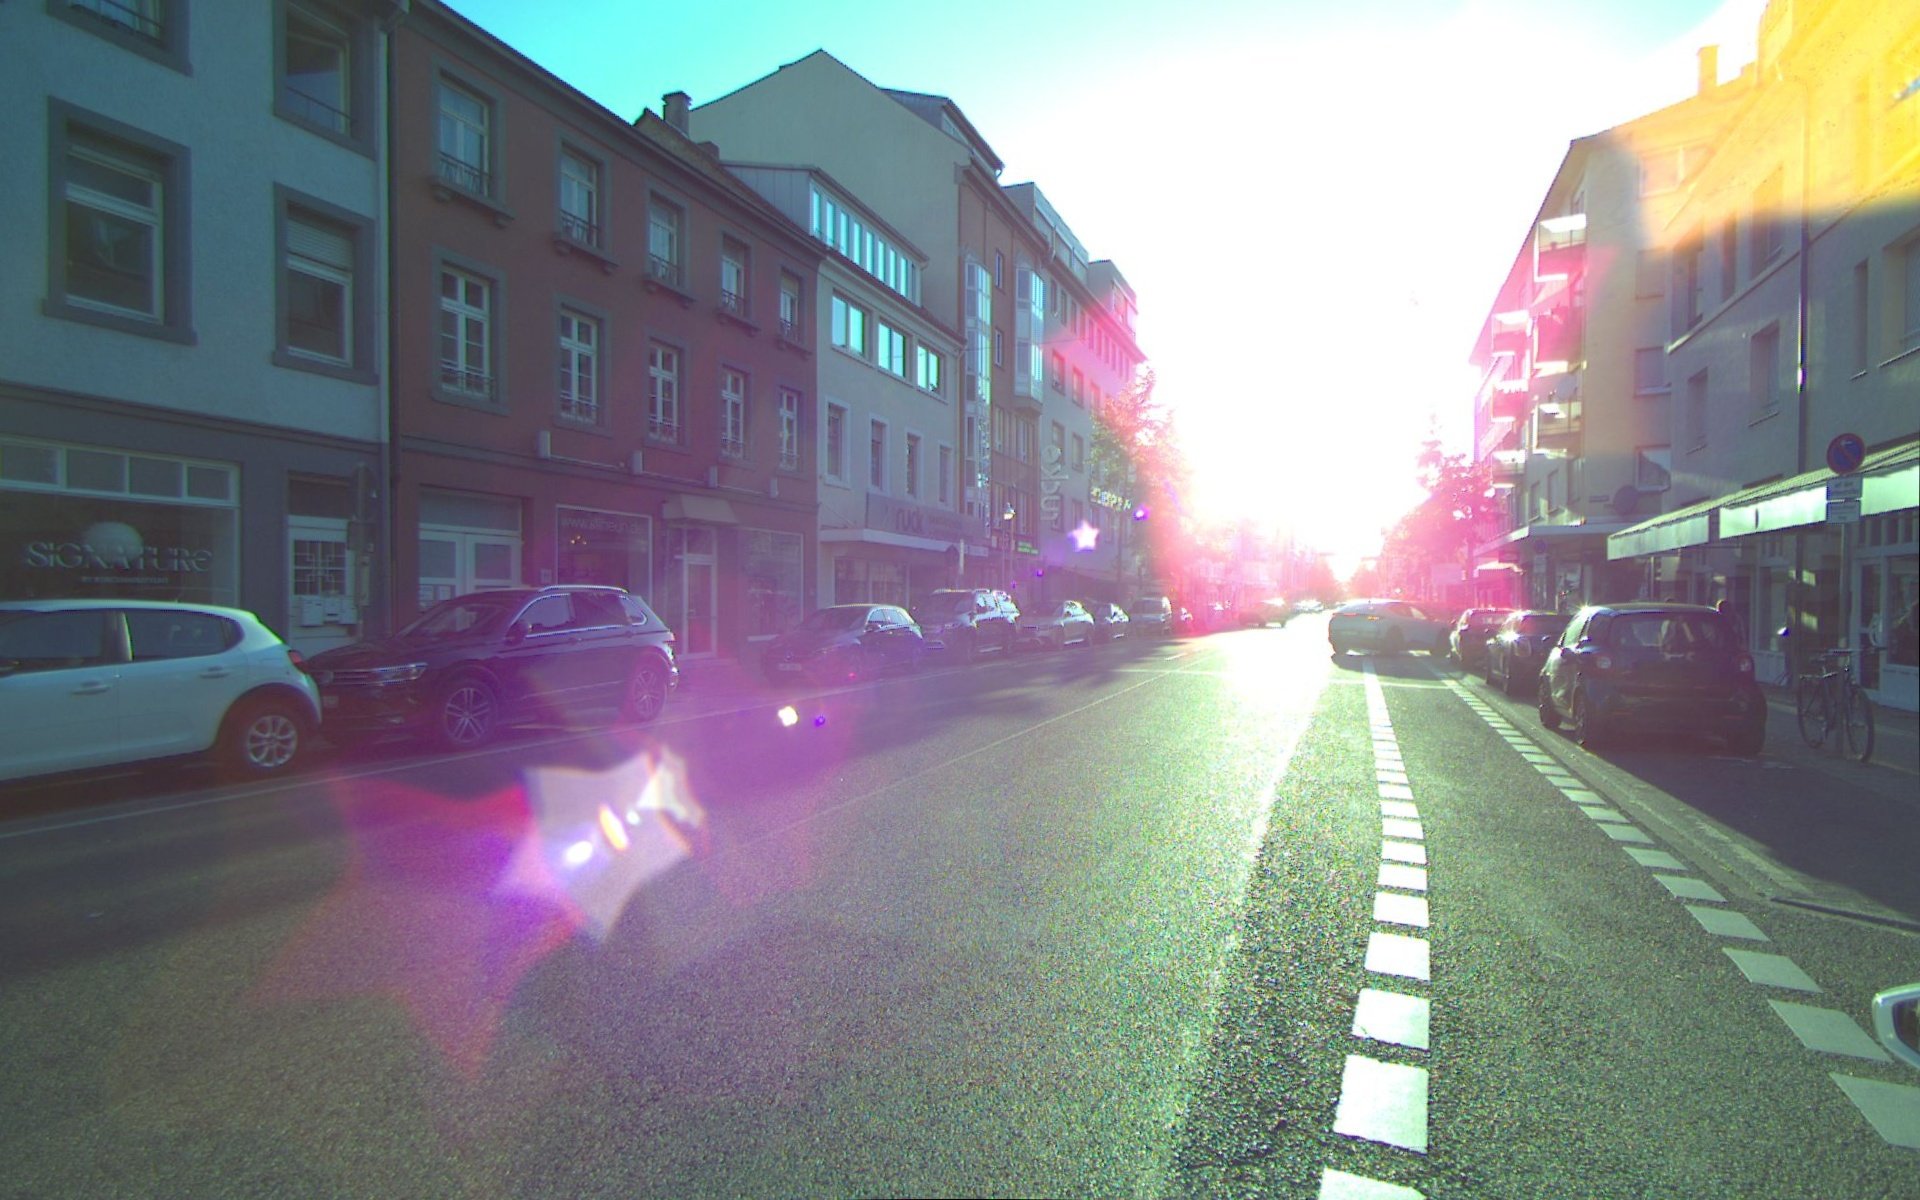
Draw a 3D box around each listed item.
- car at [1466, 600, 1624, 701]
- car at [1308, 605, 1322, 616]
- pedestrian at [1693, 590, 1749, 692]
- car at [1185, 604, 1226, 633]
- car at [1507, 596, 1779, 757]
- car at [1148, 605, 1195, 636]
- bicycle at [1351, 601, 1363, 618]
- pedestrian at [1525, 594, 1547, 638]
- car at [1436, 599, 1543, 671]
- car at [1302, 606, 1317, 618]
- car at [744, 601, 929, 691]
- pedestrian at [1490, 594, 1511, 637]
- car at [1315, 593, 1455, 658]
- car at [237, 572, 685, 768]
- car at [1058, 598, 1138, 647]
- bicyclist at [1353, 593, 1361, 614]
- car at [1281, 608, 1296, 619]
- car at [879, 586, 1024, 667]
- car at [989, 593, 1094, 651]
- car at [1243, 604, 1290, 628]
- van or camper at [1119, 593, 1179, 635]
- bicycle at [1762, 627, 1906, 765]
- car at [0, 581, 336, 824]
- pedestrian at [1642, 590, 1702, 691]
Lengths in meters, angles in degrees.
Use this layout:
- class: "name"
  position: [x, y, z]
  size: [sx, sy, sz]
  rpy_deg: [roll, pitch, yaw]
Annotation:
- class: "car"
  position: [10.362, 0.803, 18.073]
  size: [1.759, 1.601, 3.787]
  rpy_deg: [0, 0, 19]
- class: "car"
  position: [50.817, 1.472, 143.701]
  size: [1.662, 1.523, 3.785]
  rpy_deg: [0, 0, 23]
- class: "pedestrian"
  position: [13.218, 0.698, 17.463]
  size: [0.550, 1.723, 0.831]
  rpy_deg: [0, 0, 21]
- class: "car"
  position: [13.647, 1.005, 55.691]
  size: [1.662, 1.523, 3.785]
  rpy_deg: [0, 0, 23]
- class: "car"
  position: [8.009, 0.764, 12.209]
  size: [1.759, 1.601, 3.967]
  rpy_deg: [0, 0, 19]
- class: "car"
  position: [10.789, 1.014, 51.154]
  size: [1.662, 1.523, 3.785]
  rpy_deg: [0, 0, 23]
- class: "bicycle"
  position: [29.998, 0.724, 75.894]
  size: [0.653, 1.259, 2.128]
  rpy_deg: [2, 1, 24]
- class: "pedestrian"
  position: [23.916, 0.659, 41.713]
  size: [0.706, 1.815, 0.666]
  rpy_deg: [0, 0, 22]
- class: "car"
  position: [12.813, 0.780, 24.522]
  size: [1.759, 1.601, 3.787]
  rpy_deg: [0, 0, 19]
- class: "car"
  position: [47.602, 1.596, 136.895]
  size: [1.662, 1.523, 3.785]
  rpy_deg: [0, 0, 23]
- class: "car"
  position: [-2.221, 0.817, 19.438]
  size: [1.658, 1.508, 4.410]
  rpy_deg: [-3, -1, 21]
- class: "pedestrian"
  position: [23.169, 0.653, 43.088]
  size: [0.706, 1.815, 0.666]
  rpy_deg: [0, 0, 22]
- class: "car"
  position: [12.500, 0.729, 29.442]
  size: [4.281, 1.720, 1.859]
  rpy_deg: [1, 1, -37]
- class: "car"
  position: [-5.194, 0.647, 11.249]
  size: [1.765, 1.721, 4.459]
  rpy_deg: [-2, -1, 21]
- class: "car"
  position: [5.120, 0.776, 36.865]
  size: [1.961, 1.677, 4.479]
  rpy_deg: [0, 0, 21]
- class: "bicyclist"
  position: [29.963, 0.249, 75.878]
  size: [0.538, 1.602, 0.802]
  rpy_deg: [0, 0, 24]
- class: "car"
  position: [45.106, 1.870, 138.051]
  size: [1.662, 1.523, 3.785]
  rpy_deg: [0, 0, 23]
- class: "car"
  position: [-0.058, 0.614, 25.280]
  size: [1.961, 1.801, 5.319]
  rpy_deg: [-1, 0, 19]
- class: "car"
  position: [2.637, 0.643, 31.292]
  size: [1.961, 1.677, 4.626]
  rpy_deg: [-1, 0, 22]
- class: "car"
  position: [20.759, 1.077, 68.207]
  size: [1.605, 1.430, 3.652]
  rpy_deg: [2, 1, -9]
- class: "van or camper"
  position: [8.704, 0.595, 45.889]
  size: [1.759, 1.797, 4.555]
  rpy_deg: [0, 0, 23]
- class: "bicycle"
  position: [8.966, 0.924, 10.392]
  size: [0.549, 1.222, 1.976]
  rpy_deg: [0, 0, 24]
- class: "car"
  position: [-6.951, 0.697, 7.254]
  size: [1.635, 1.594, 3.933]
  rpy_deg: [-2, -1, 22]
- class: "pedestrian"
  position: [12.634, 0.698, 17.848]
  size: [0.620, 1.723, 1.040]
  rpy_deg: [0, 0, 21]
